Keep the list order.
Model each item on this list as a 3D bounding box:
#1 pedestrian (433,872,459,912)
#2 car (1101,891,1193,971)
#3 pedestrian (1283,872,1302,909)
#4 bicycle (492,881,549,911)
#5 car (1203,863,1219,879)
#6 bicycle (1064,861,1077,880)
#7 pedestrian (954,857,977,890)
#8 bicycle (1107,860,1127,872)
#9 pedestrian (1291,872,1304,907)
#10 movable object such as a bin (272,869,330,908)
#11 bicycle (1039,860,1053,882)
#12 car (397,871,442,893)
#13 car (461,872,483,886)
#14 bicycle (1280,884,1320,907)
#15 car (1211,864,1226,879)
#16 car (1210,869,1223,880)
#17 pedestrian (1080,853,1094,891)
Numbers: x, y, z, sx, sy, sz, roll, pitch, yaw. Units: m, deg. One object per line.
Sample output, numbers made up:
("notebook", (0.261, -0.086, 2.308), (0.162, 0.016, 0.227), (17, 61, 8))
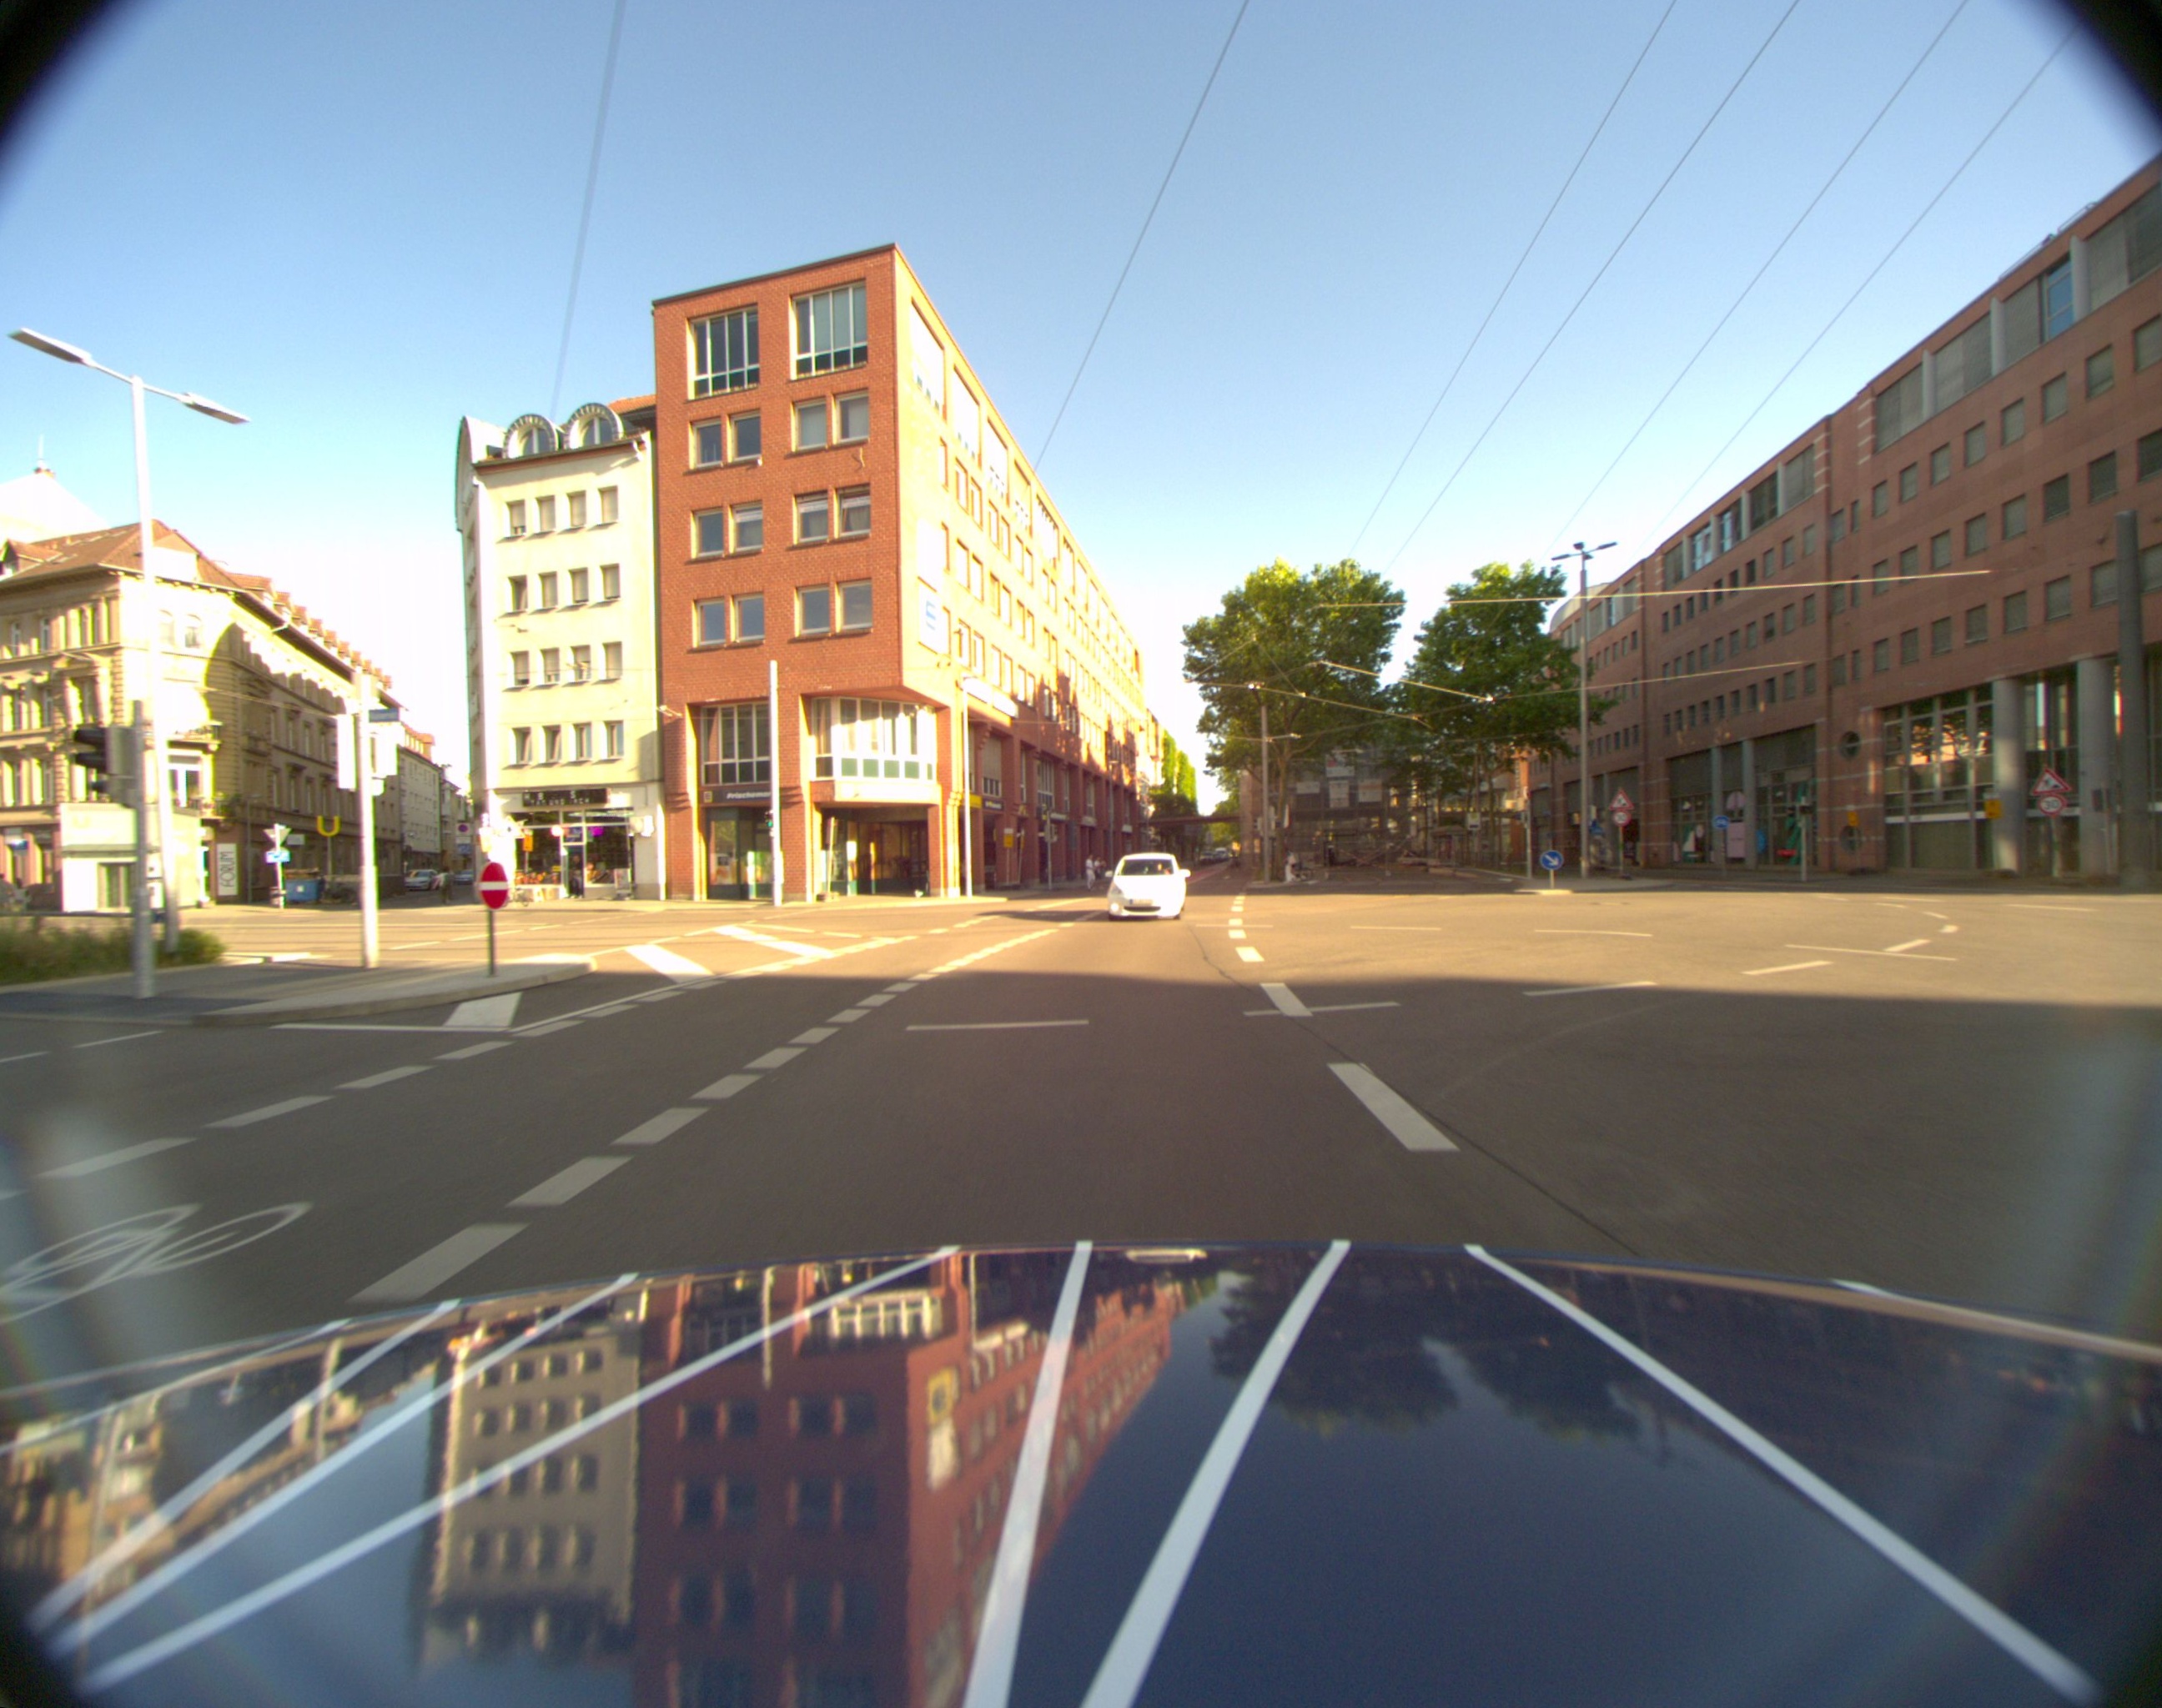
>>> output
("pedestrian", (-26.842, 1.582, 32.104), (0.959, 1.628, 0.694), (0, 2, 44))
("car", (1.711, 1.765, 18.331), (1.807, 1.491, 4.204), (-2, 0, 10))
("pedestrian", (10.092, 1.739, 36.292), (0.779, 1.724, 0.849), (-1, 0, 11))
("bicycle", (-19.646, 1.471, 26.617), (1.862, 0.985, 0.460), (-2, 2, 13))
("car", (18.898, 2.434, 109.957), (1.921, 2.066, 5.175), (-2, 0, 13))
("bicycle", (-0.682, 1.030, 48.569), (0.340, 1.176, 1.680), (-1, 0, 15))
("pedestrian", (-5.655, 0.955, 37.172), (0.847, 1.580, 0.753), (-2, 0, -26))
("bicycle", (2.962, 1.012, 62.563), (1.613, 0.949, 0.555), (1, 0, 15))
("pedestrian", (10.515, 1.744, 36.950), (0.567, 1.670, 0.531), (-1, 0, 15))
("movable object such as a bin", (-38.031, 1.677, 37.089), (1.652, 1.773, 1.398), (-3, 0, -35))
("bicycle", (-2.065, 0.997, 45.177), (0.340, 1.248, 1.712), (-1, 0, 15))
("car", (-49.041, 2.048, 56.388), (1.731, 1.513, 3.992), (-1, -1, -29))
("car", (-59.135, 2.433, 73.759), (1.425, 1.253, 2.951), (-1, -1, -35))
("bicycle", (10.762, 2.045, 37.399), (1.832, 1.072, 0.481), (-1, 0, 15))
("car", (24.896, 3.210, 137.323), (2.118, 2.549, 5.911), (-2, 0, 14))
("car", (21.631, 3.271, 121.178), (1.790, 1.660, 4.445), (-2, 0, 13))
("pedestrian", (0.291, 0.868, 36.905), (0.476, 1.782, 0.541), (-2, 0, 13))
